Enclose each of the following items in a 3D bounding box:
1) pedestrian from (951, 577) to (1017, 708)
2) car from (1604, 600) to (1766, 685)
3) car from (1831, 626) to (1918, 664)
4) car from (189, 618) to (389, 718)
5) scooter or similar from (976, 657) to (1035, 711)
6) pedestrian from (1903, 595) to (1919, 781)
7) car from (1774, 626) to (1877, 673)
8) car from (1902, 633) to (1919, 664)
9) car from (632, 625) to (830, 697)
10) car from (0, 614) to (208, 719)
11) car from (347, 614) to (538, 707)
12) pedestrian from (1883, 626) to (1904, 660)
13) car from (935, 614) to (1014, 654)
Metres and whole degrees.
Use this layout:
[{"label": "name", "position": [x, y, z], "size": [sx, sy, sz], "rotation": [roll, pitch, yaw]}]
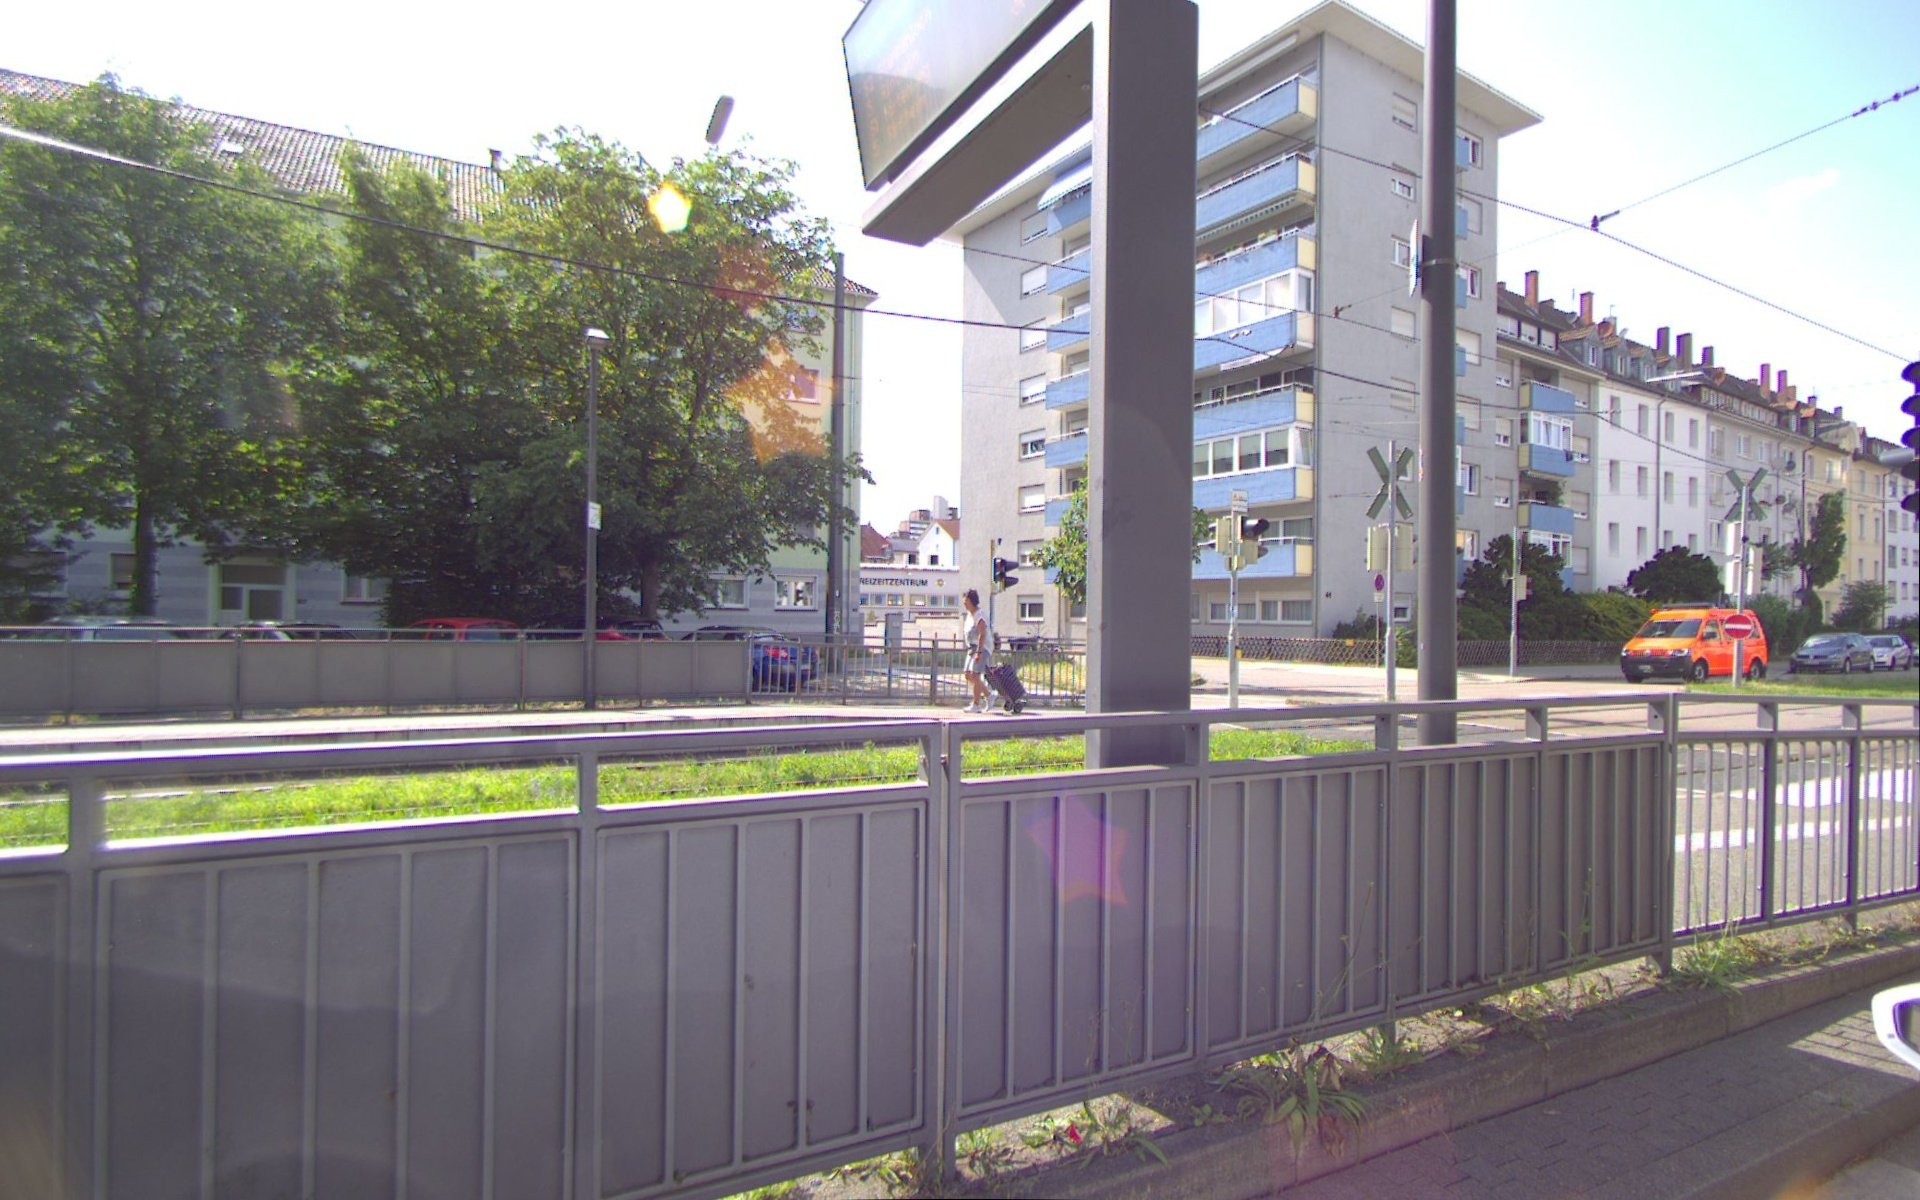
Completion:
[{"label": "pedestrian", "position": [0.313, 0.552, 13.385], "size": [0.624, 1.686, 0.657], "rotation": [1, -1, -29]}, {"label": "car", "position": [21.197, 1.218, 29.338], "size": [4.774, 2.305, 1.985], "rotation": [1, -2, -29]}, {"label": "car", "position": [39.248, 1.931, 43.087], "size": [3.956, 1.461, 1.758], "rotation": [2, 0, -32]}, {"label": "car", "position": [-12.053, 1.132, 18.001], "size": [3.603, 1.600, 1.645], "rotation": [0, -1, 32]}, {"label": "scooter or similar", "position": [0.634, 1.155, 13.911], "size": [0.692, 0.708, 0.440], "rotation": [1, -1, -29]}, {"label": "pedestrian", "position": [9.066, 0.809, 9.007], "size": [0.630, 1.670, 0.701], "rotation": [2, 1, -32]}, {"label": "car", "position": [34.283, 1.938, 39.785], "size": [3.956, 1.667, 1.982], "rotation": [2, 0, -32]}, {"label": "car", "position": [47.421, 2.379, 48.637], "size": [3.958, 1.461, 1.757], "rotation": [2, 0, -34]}, {"label": "car", "position": [-4.980, 1.265, 21.810], "size": [4.055, 1.413, 1.608], "rotation": [0, -1, 24]}, {"label": "car", "position": [-14.200, 1.017, 16.557], "size": [3.959, 1.534, 1.605], "rotation": [0, -1, 33]}, {"label": "car", "position": [-9.977, 1.091, 19.324], "size": [3.603, 1.600, 1.645], "rotation": [0, -1, 32]}, {"label": "pedestrian", "position": [49.377, 2.267, 53.124], "size": [0.857, 1.817, 0.700], "rotation": [1, -1, -36]}, {"label": "car", "position": [0.656, 1.581, 47.546], "size": [1.976, 1.706, 3.968], "rotation": [2, 0, -30]}]
